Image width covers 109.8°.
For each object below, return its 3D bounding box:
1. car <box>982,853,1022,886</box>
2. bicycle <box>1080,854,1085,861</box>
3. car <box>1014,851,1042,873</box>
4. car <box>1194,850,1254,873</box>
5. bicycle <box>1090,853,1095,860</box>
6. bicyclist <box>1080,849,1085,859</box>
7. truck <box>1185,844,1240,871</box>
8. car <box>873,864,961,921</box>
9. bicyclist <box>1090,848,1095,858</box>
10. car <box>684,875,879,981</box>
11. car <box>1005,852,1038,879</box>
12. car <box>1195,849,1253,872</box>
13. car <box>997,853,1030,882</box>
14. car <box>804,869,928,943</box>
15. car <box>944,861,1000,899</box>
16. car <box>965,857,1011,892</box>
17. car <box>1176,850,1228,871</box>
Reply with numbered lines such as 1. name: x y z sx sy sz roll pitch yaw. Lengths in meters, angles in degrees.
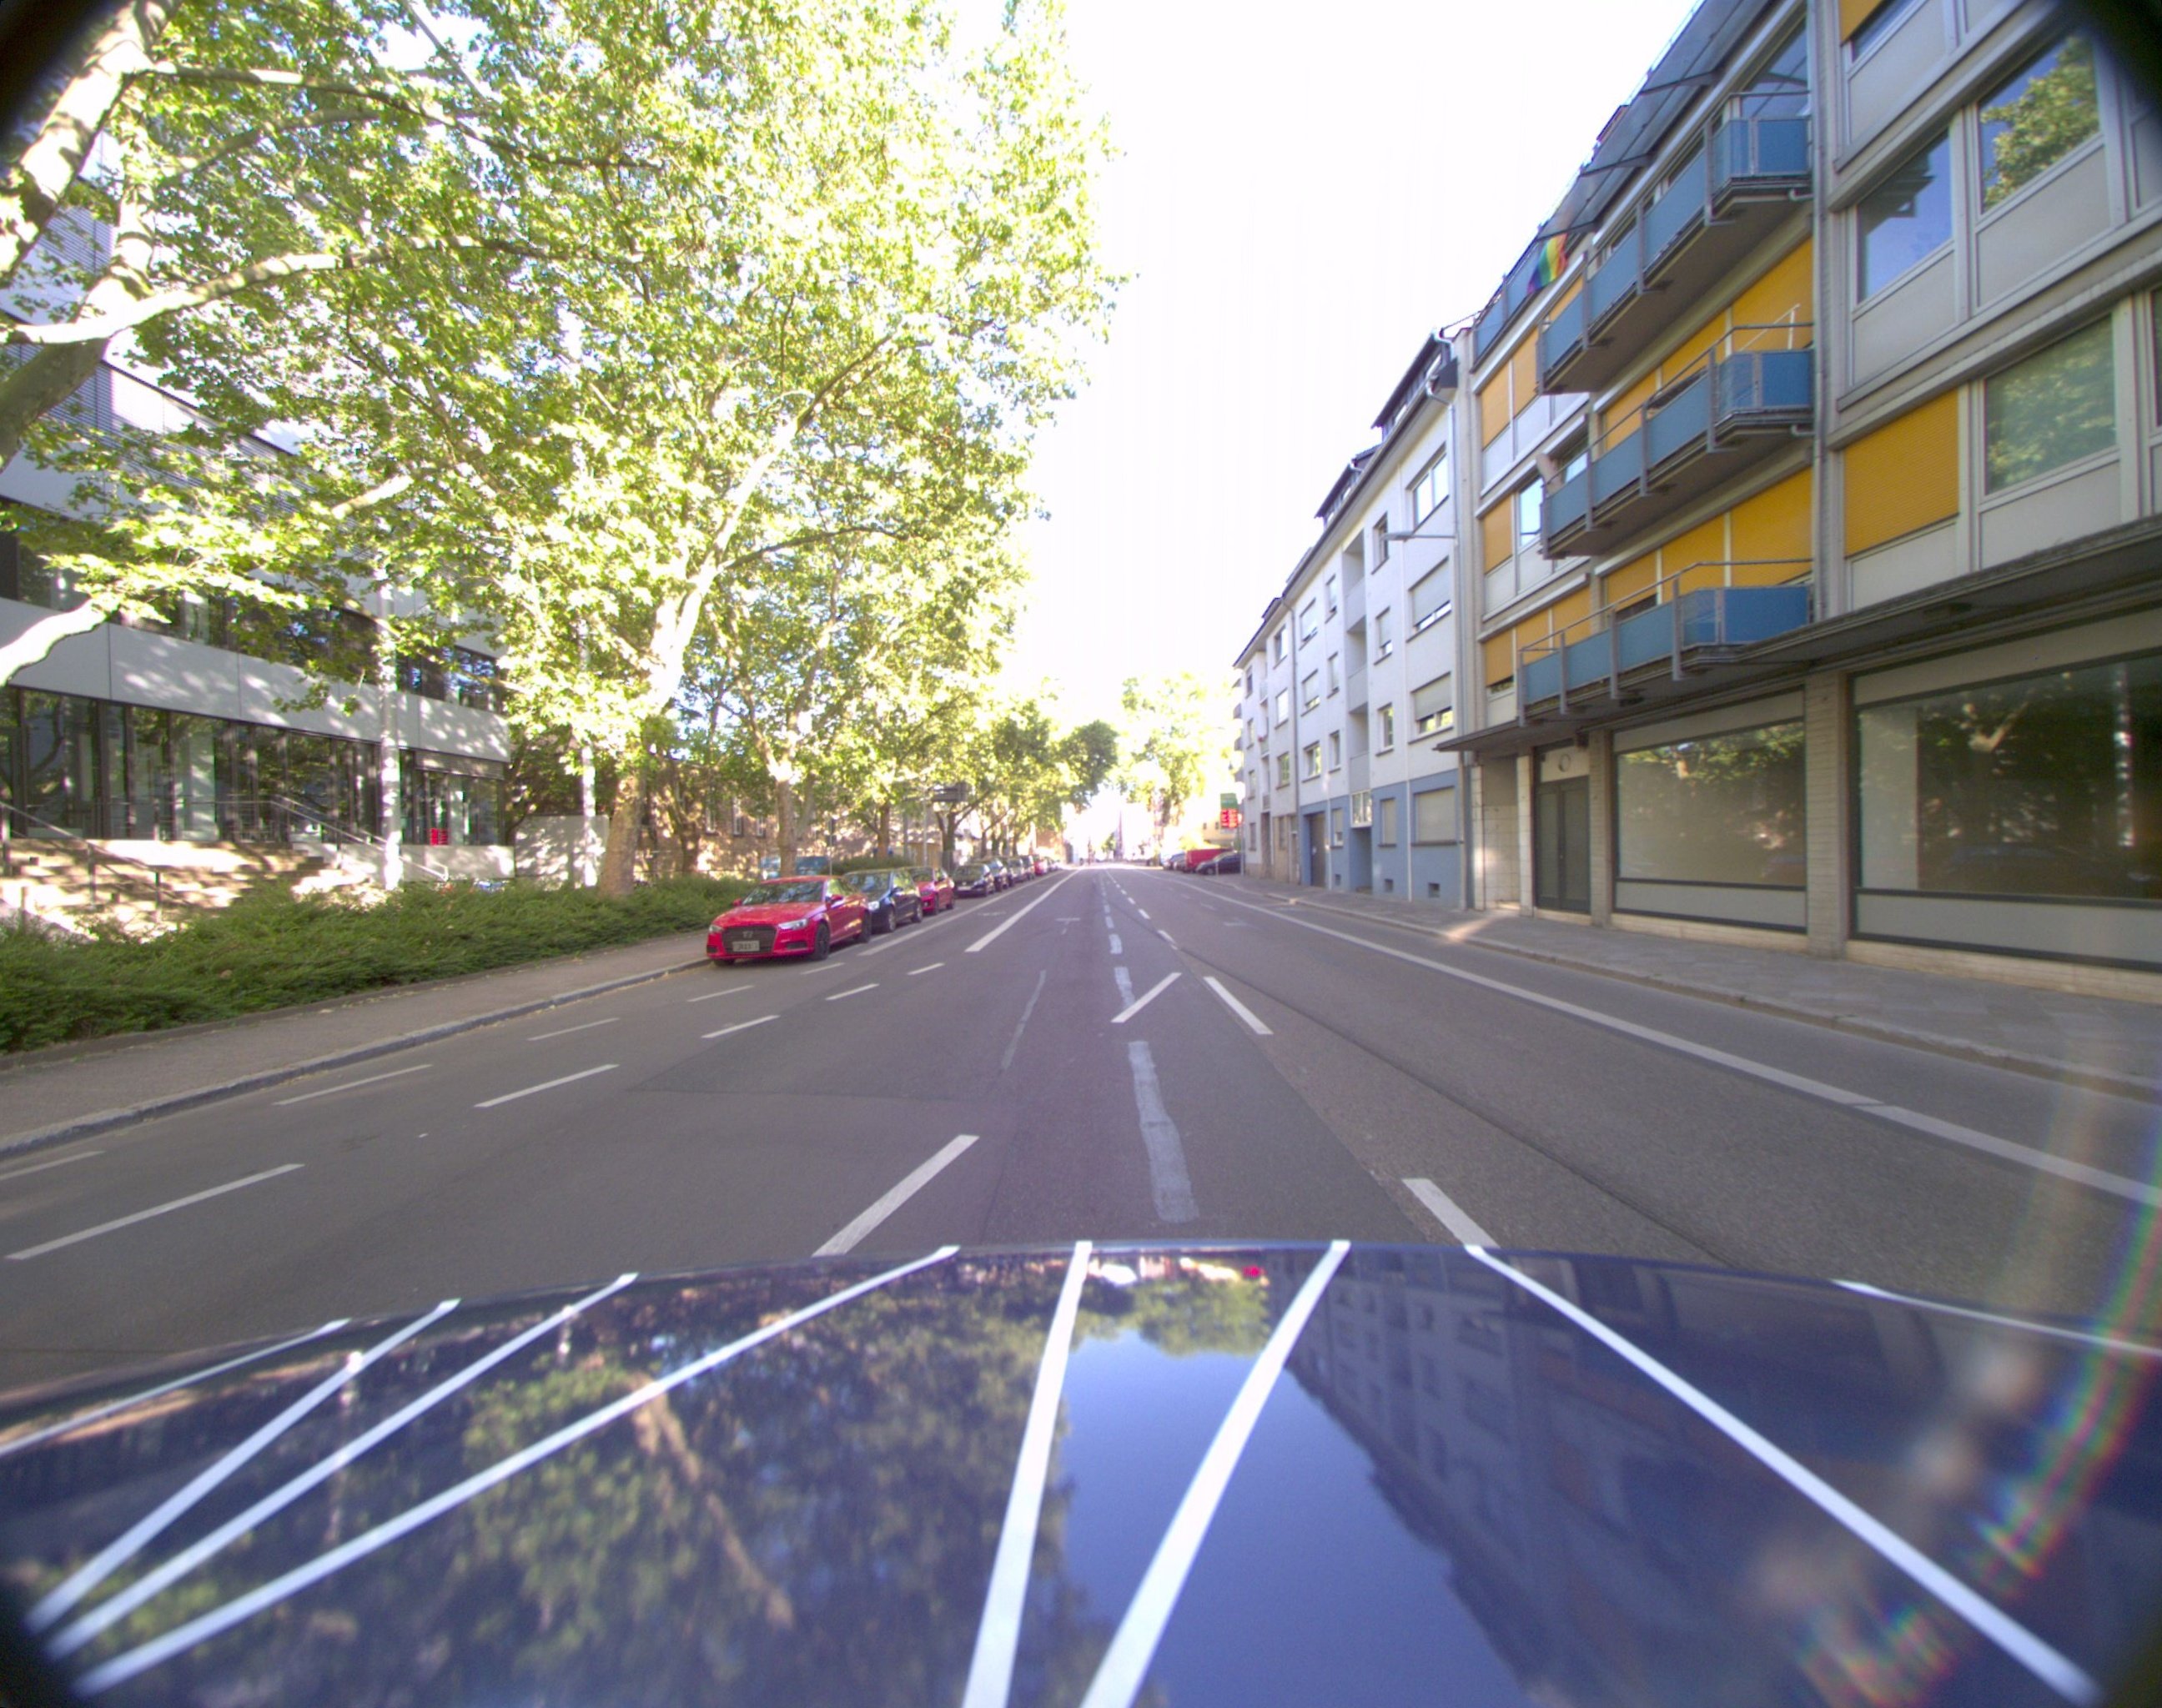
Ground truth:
1. car: -4.531 0.871 44.152 1.790 1.745 4.345 -3 0 0
2. bicycle: 0.182 0.488 120.804 0.717 1.052 2.485 -2 1 1
3. car: -4.600 0.702 66.096 2.042 1.745 4.552 -3 0 0
4. car: 10.246 0.546 54.799 3.996 1.449 1.761 -2 1 2
5. bicycle: 1.797 0.363 121.201 0.717 1.052 2.485 -2 1 1
6. bicyclist: 0.175 -0.034 120.792 0.718 1.573 0.936 -2 1 1
7. truck: 10.359 0.246 59.996 3.996 1.925 1.761 -2 1 2
8. car: -5.035 1.126 23.862 1.818 1.475 4.163 -3 0 0
9. bicyclist: 1.779 -0.129 120.970 0.718 1.573 0.936 -2 1 1
10. car: -5.142 1.194 13.723 1.818 1.405 4.163 -3 0 0
11. car: -4.325 0.799 55.666 2.042 1.745 4.552 -3 0 0
12. car: 10.720 0.479 57.147 3.996 1.494 1.761 -2 1 2
13. car: -4.454 0.854 50.707 1.790 1.745 4.552 -3 0 0
14. car: -5.087 1.171 18.579 1.818 1.405 4.163 -3 0 0
15. car: -4.708 1.079 33.389 1.790 1.451 4.163 -3 0 0
16. car: -4.608 0.980 38.135 1.790 1.544 4.163 -3 0 0
17. car: 9.969 0.526 62.849 3.996 1.494 1.761 -2 1 2
